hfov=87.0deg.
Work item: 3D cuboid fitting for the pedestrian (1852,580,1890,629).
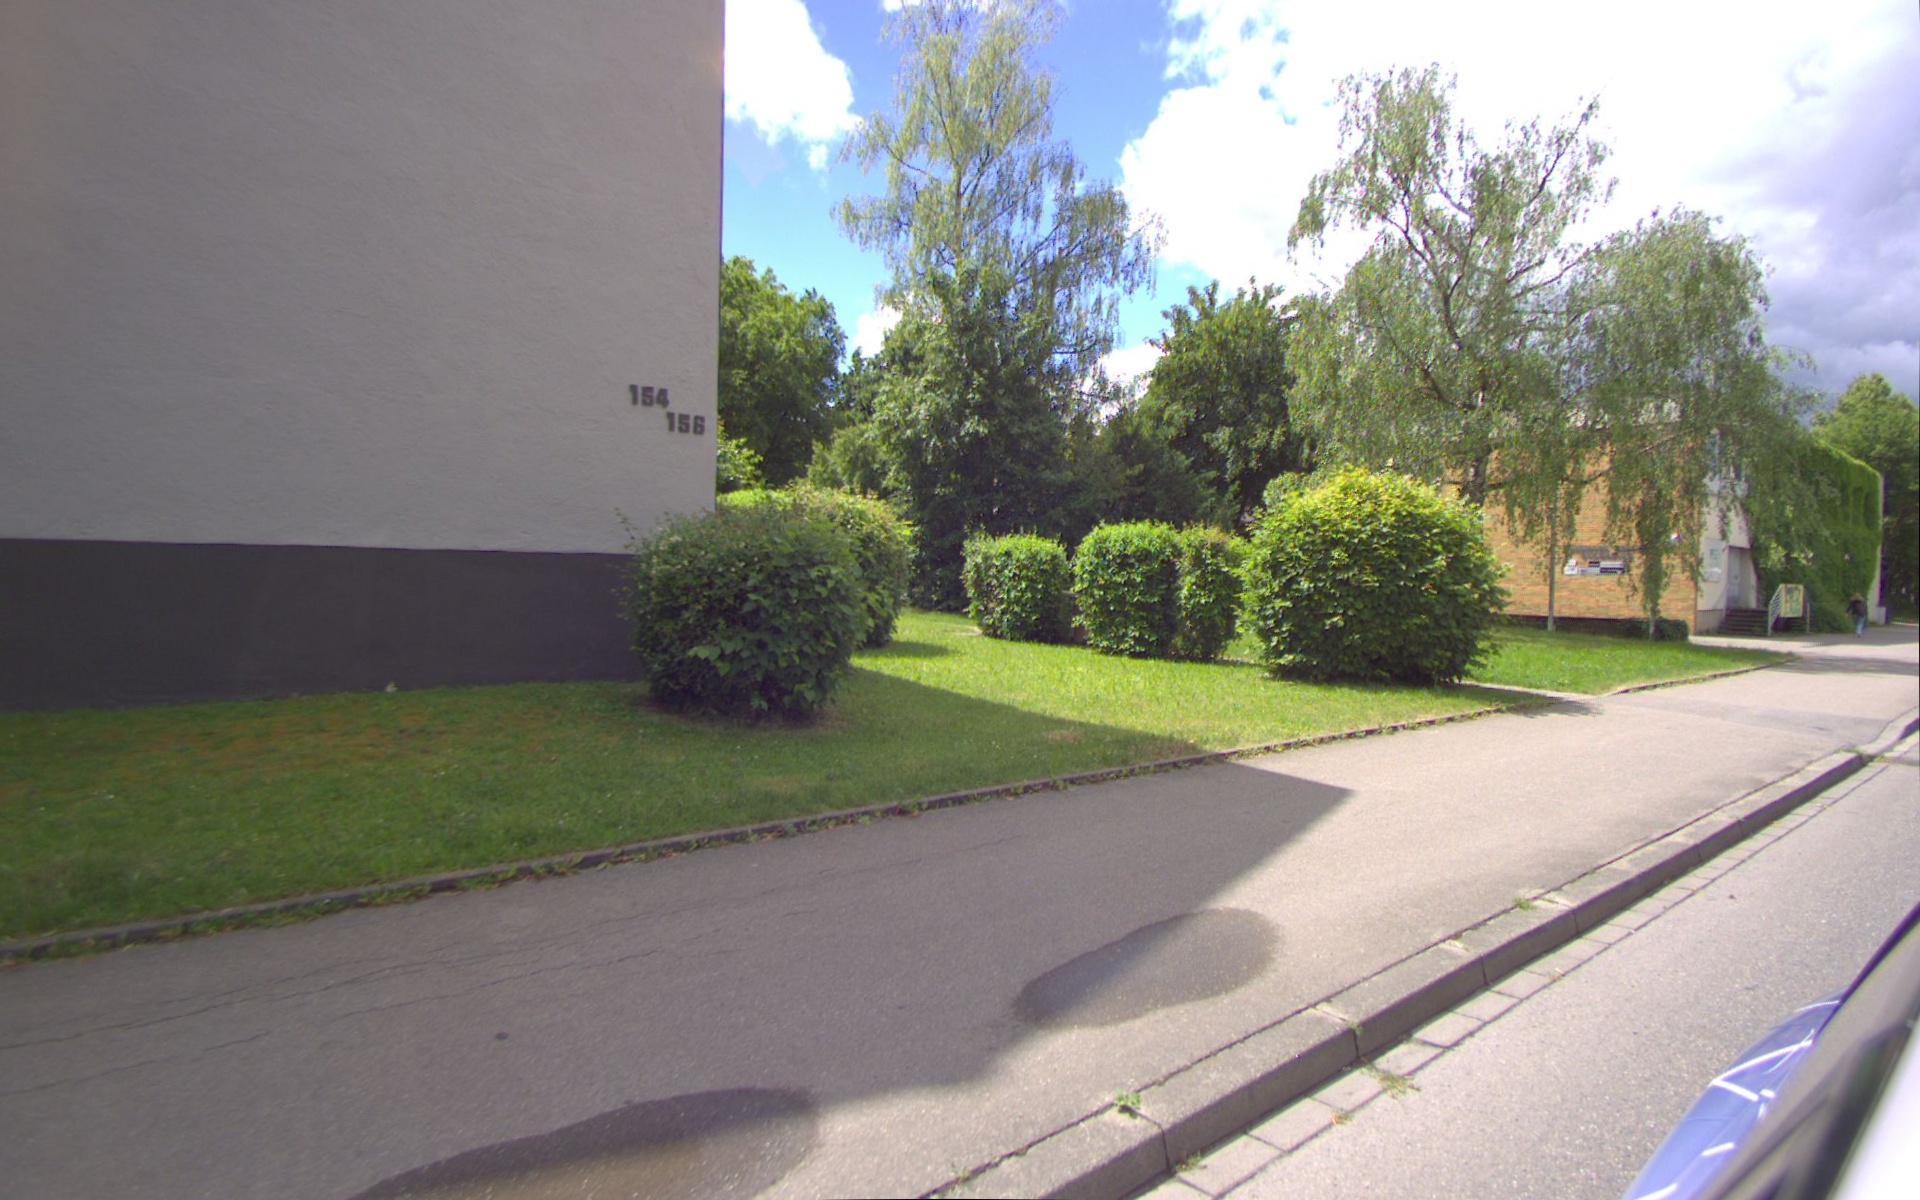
[{"bbox_3d":[34.452,0.174,38.254,0.801,1.792,0.812,0,3,-35],"label":"pedestrian"}]
